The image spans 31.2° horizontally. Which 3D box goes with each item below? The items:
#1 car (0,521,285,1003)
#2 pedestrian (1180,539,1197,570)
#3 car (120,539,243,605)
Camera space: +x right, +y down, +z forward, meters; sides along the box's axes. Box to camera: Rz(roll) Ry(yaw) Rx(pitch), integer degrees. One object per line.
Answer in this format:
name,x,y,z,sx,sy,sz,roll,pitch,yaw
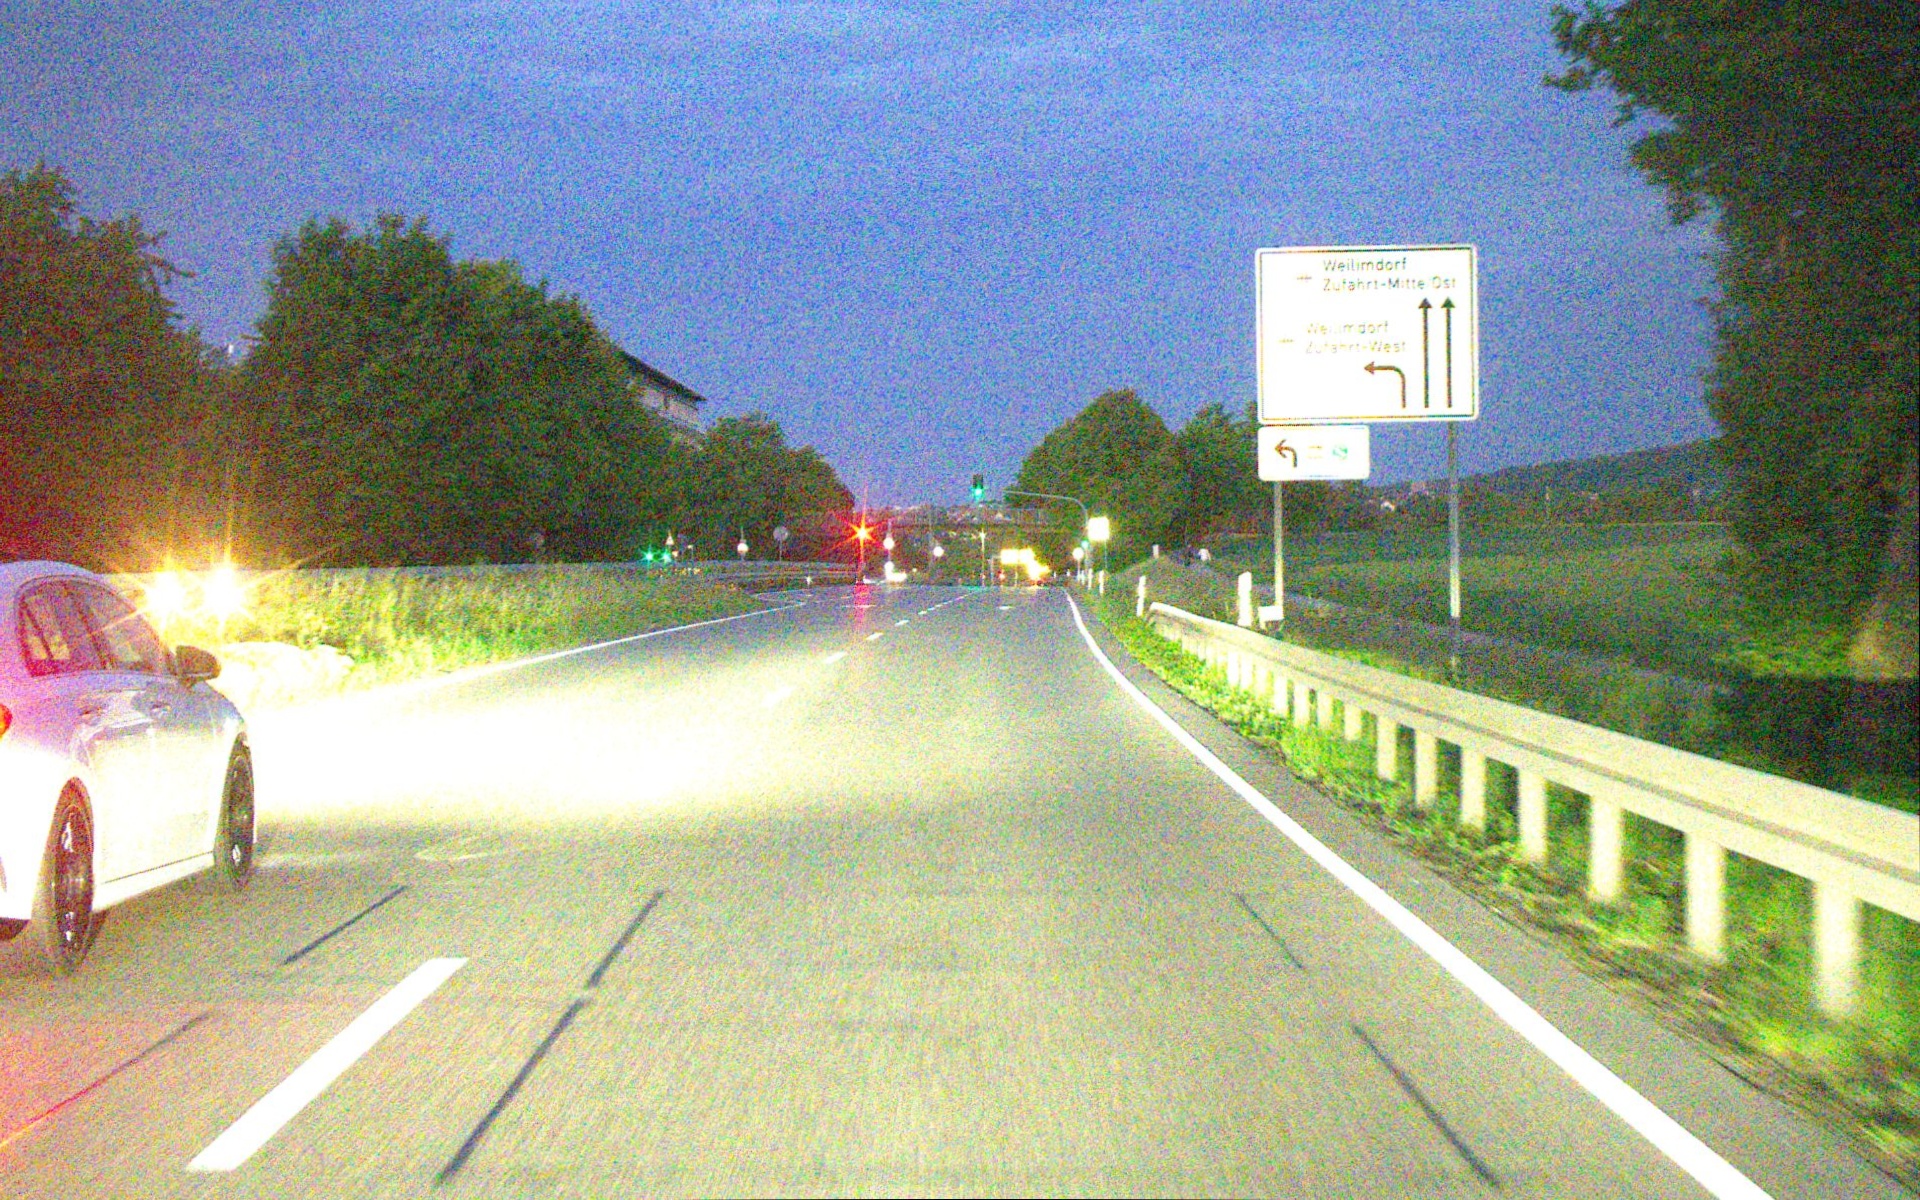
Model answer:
car,-3.753,0.450,12.874,1.642,1.485,4.580,1,1,-1
pedestrian,13.233,-2.634,199.213,0.922,1.787,1.106,1,1,2
car,-16.404,-0.609,72.556,1.629,1.318,3.940,1,1,1
